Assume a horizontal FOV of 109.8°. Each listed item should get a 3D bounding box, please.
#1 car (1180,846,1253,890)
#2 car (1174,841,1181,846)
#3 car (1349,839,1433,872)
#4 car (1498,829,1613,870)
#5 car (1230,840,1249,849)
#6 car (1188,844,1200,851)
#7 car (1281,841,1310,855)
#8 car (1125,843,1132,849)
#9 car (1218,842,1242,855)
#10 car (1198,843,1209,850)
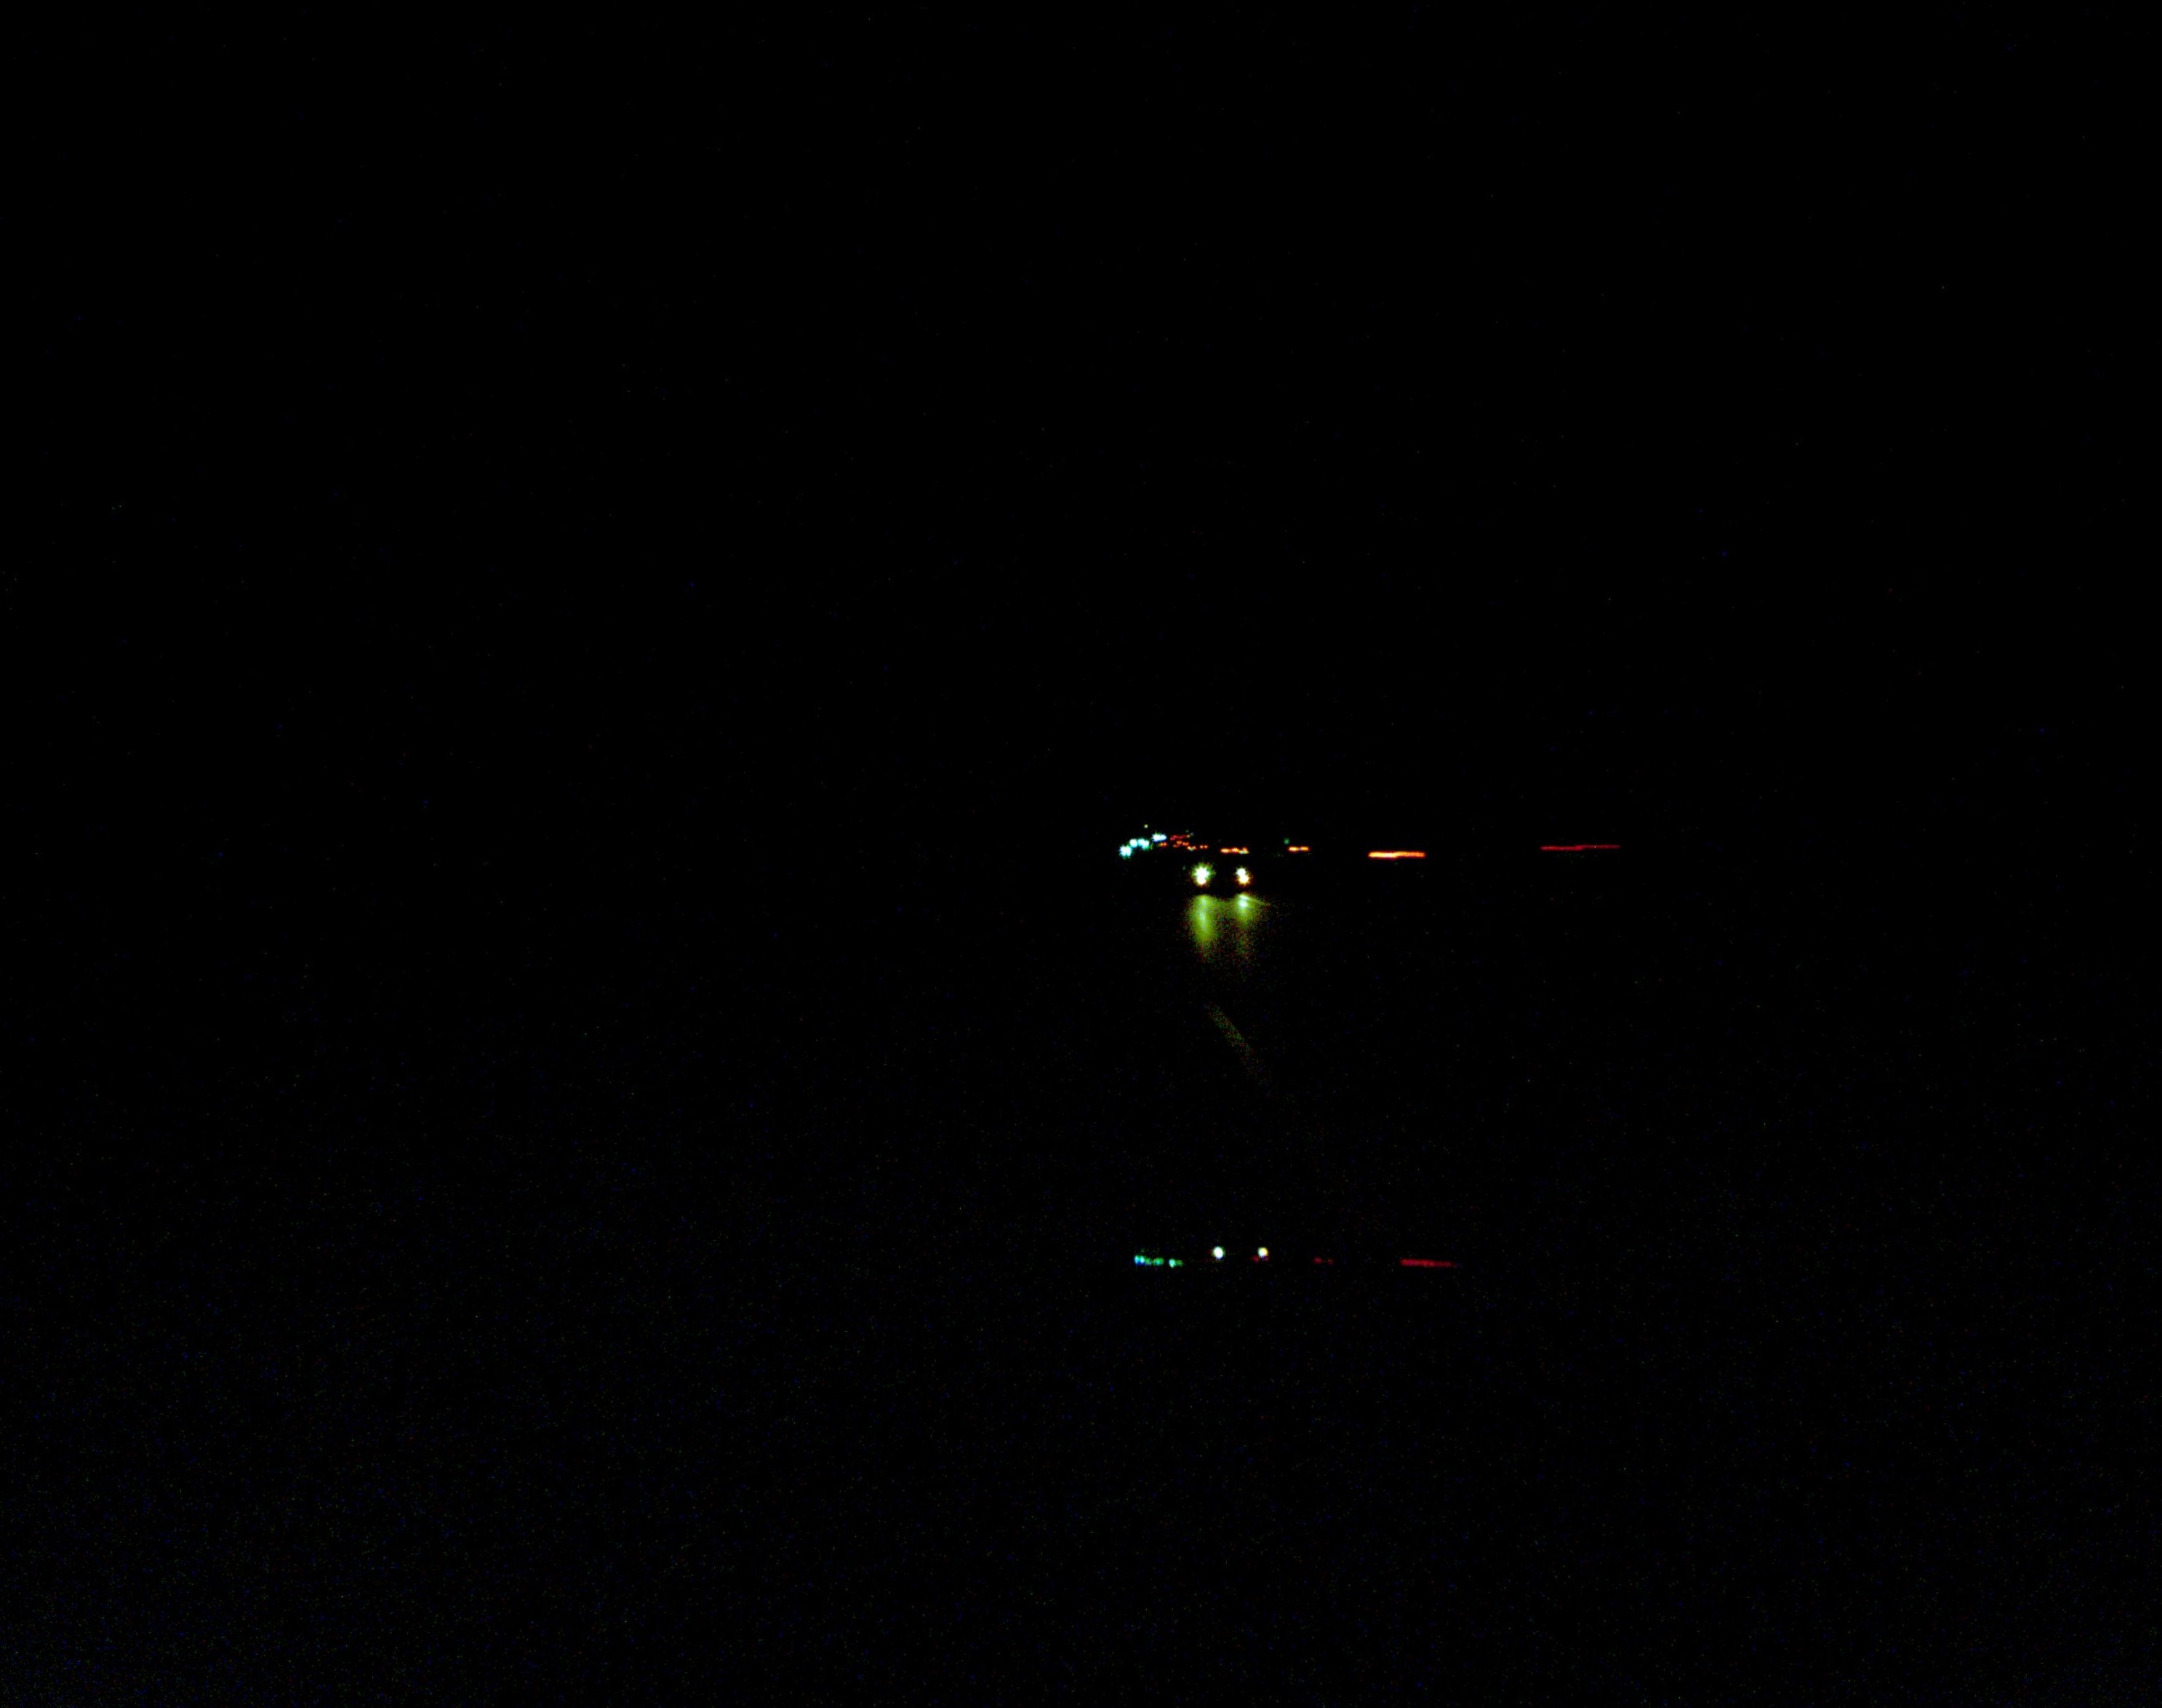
[{"bbox_3d":[5.277,0.562,30.321,1.998,1.509,5.652,-2,-1,2],"label":"car"},{"bbox_3d":[31.753,-3.425,250.305,2.123,1.687,5.111,-2,0,6],"label":"car"},{"bbox_3d":[16.619,0.054,41.088,2.565,1.547,5.109,-2,1,2],"label":"car"},{"bbox_3d":[23.015,-0.254,37.231,2.058,1.771,5.941,-2,1,2],"label":"car"},{"bbox_3d":[26.825,-1.620,128.860,2.189,1.472,5.242,-3,1,2],"label":"car"},{"bbox_3d":[27.426,-1.646,184.852,2.124,1.547,5.109,-2,1,2],"label":"car"},{"bbox_3d":[26.024,-0.715,92.251,2.124,1.547,5.109,-2,1,2],"label":"car"},{"bbox_3d":[13.659,-2.263,219.775,1.998,1.653,4.000,-2,1,4],"label":"car"},{"bbox_3d":[18.567,-0.675,94.935,2.124,1.547,5.109,-2,1,2],"label":"car"},{"bbox_3d":[32.229,-1.961,200.309,2.123,1.547,5.109,-2,1,2],"label":"car"}]
